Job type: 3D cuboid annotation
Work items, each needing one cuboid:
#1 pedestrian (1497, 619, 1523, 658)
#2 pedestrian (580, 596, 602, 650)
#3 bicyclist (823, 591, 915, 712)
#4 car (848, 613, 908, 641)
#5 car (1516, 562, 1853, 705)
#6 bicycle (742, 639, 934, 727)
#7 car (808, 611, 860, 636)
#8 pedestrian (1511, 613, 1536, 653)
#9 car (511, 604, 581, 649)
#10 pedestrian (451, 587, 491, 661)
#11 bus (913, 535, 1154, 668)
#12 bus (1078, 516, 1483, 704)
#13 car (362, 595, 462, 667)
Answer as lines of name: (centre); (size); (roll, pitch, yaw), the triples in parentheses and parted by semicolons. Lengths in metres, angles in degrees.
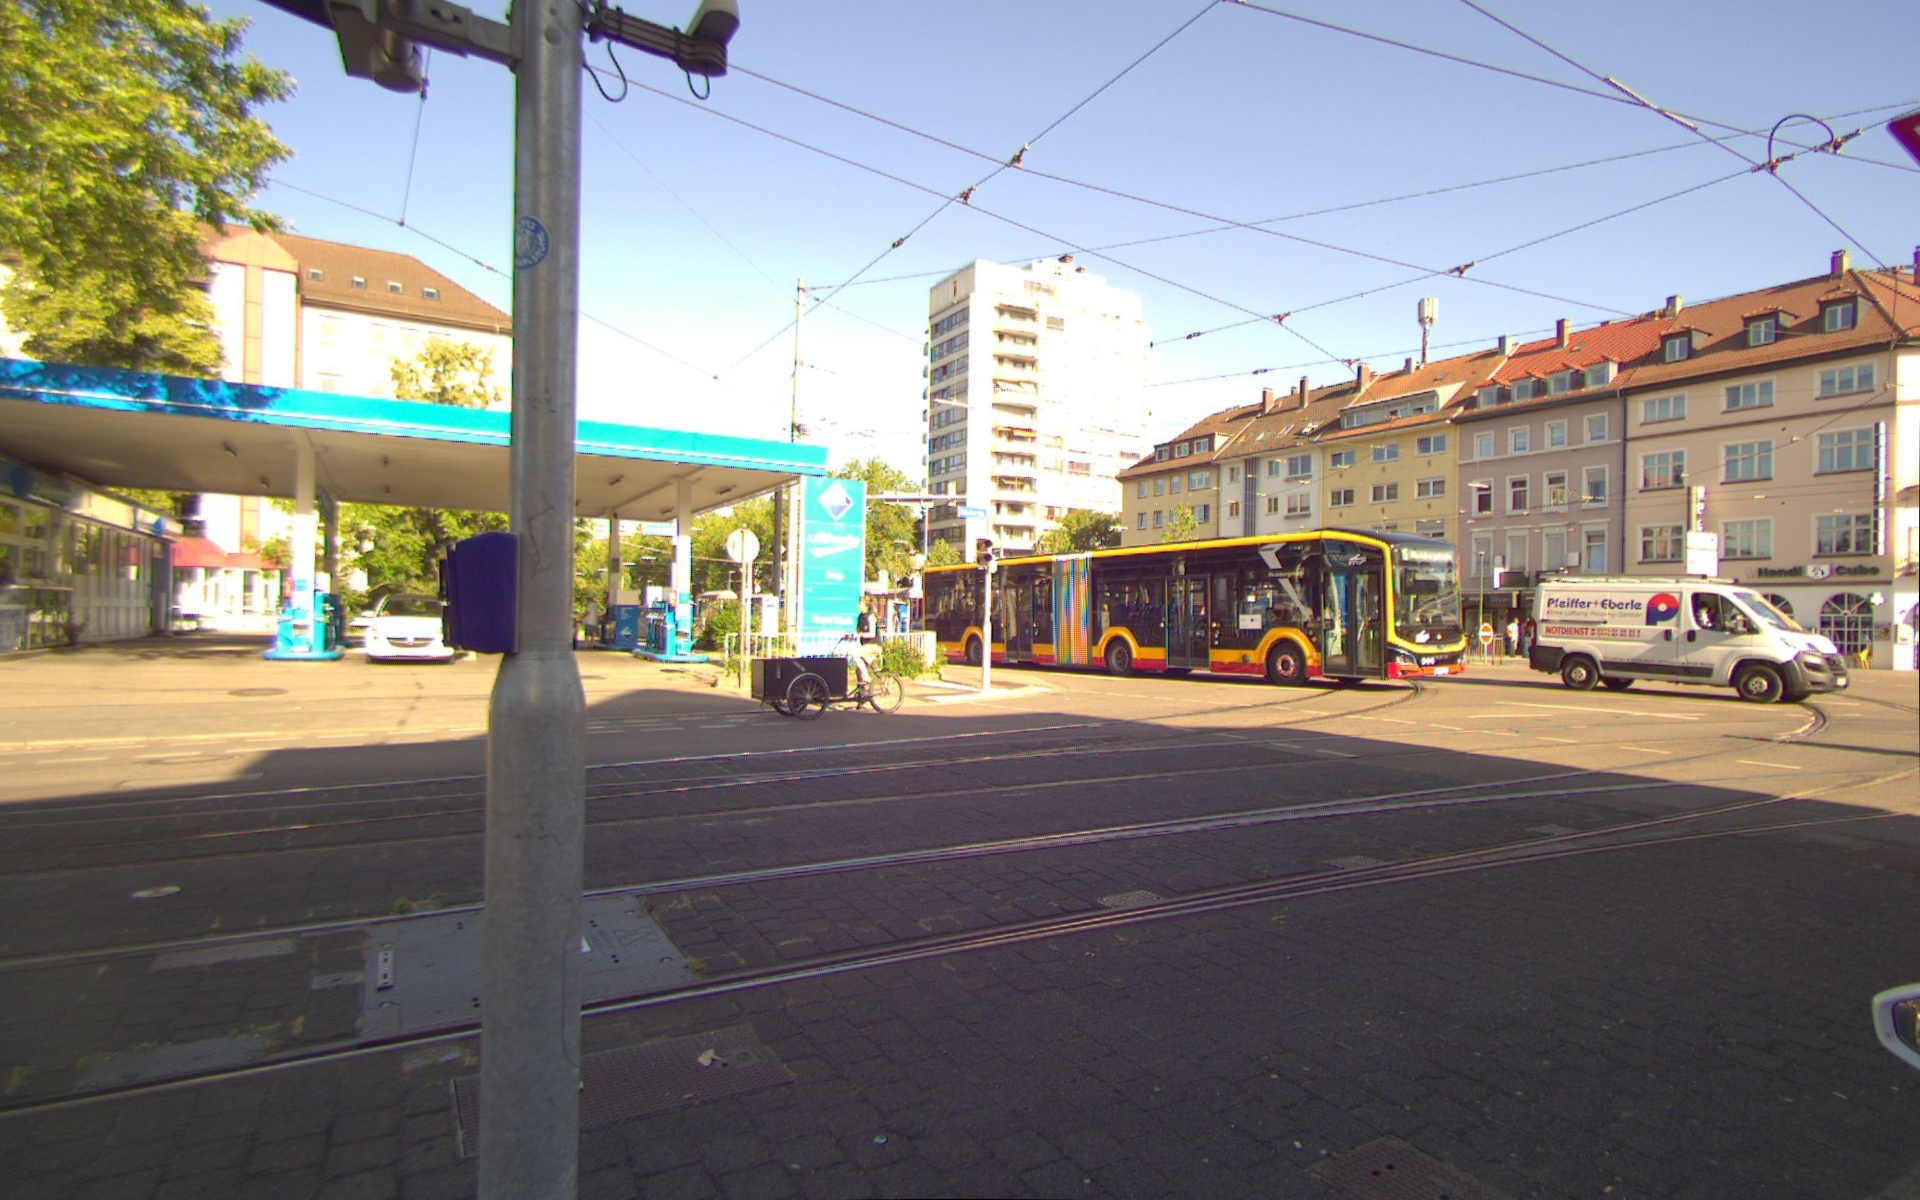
pedestrian: (24.171, 1.681, 44.143); (0.621, 1.704, 0.763); (1, -1, -30)
pedestrian: (-11.806, 0.744, 32.160); (0.579, 1.715, 0.756); (1, -1, -25)
bicyclist: (-1.316, 0.720, 14.498); (1.016, 1.659, 0.927); (1, -1, -30)
car: (-4.495, 1.440, 54.302); (1.697, 1.439, 4.149); (1, -1, -28)
car: (14.143, 0.620, 19.943); (2.061, 2.465, 5.076); (2, -1, -36)
bicycle: (-1.712, 1.124, 14.237); (2.490, 1.116, 1.051); (1, -1, -30)
car: (-7.622, 1.392, 60.312); (1.697, 1.439, 4.149); (1, -1, -28)
pedestrian: (23.904, 1.386, 42.584); (0.565, 1.657, 0.737); (1, -1, -30)
car: (-13.589, 0.849, 32.876); (1.697, 1.360, 3.970); (1, -1, -28)
pedestrian: (-11.529, 0.573, 23.681); (0.753, 1.715, 0.581); (1, -1, -34)
bus: (1.930, -0.005, 30.861); (2.758, 3.504, 8.562); (0, 1, -33)
bus: (6.819, 0.126, 23.383); (2.750, 3.504, 9.355); (0, 1, -33)
car: (-12.370, 0.664, 22.555); (1.793, 1.461, 3.966); (1, -1, -31)
